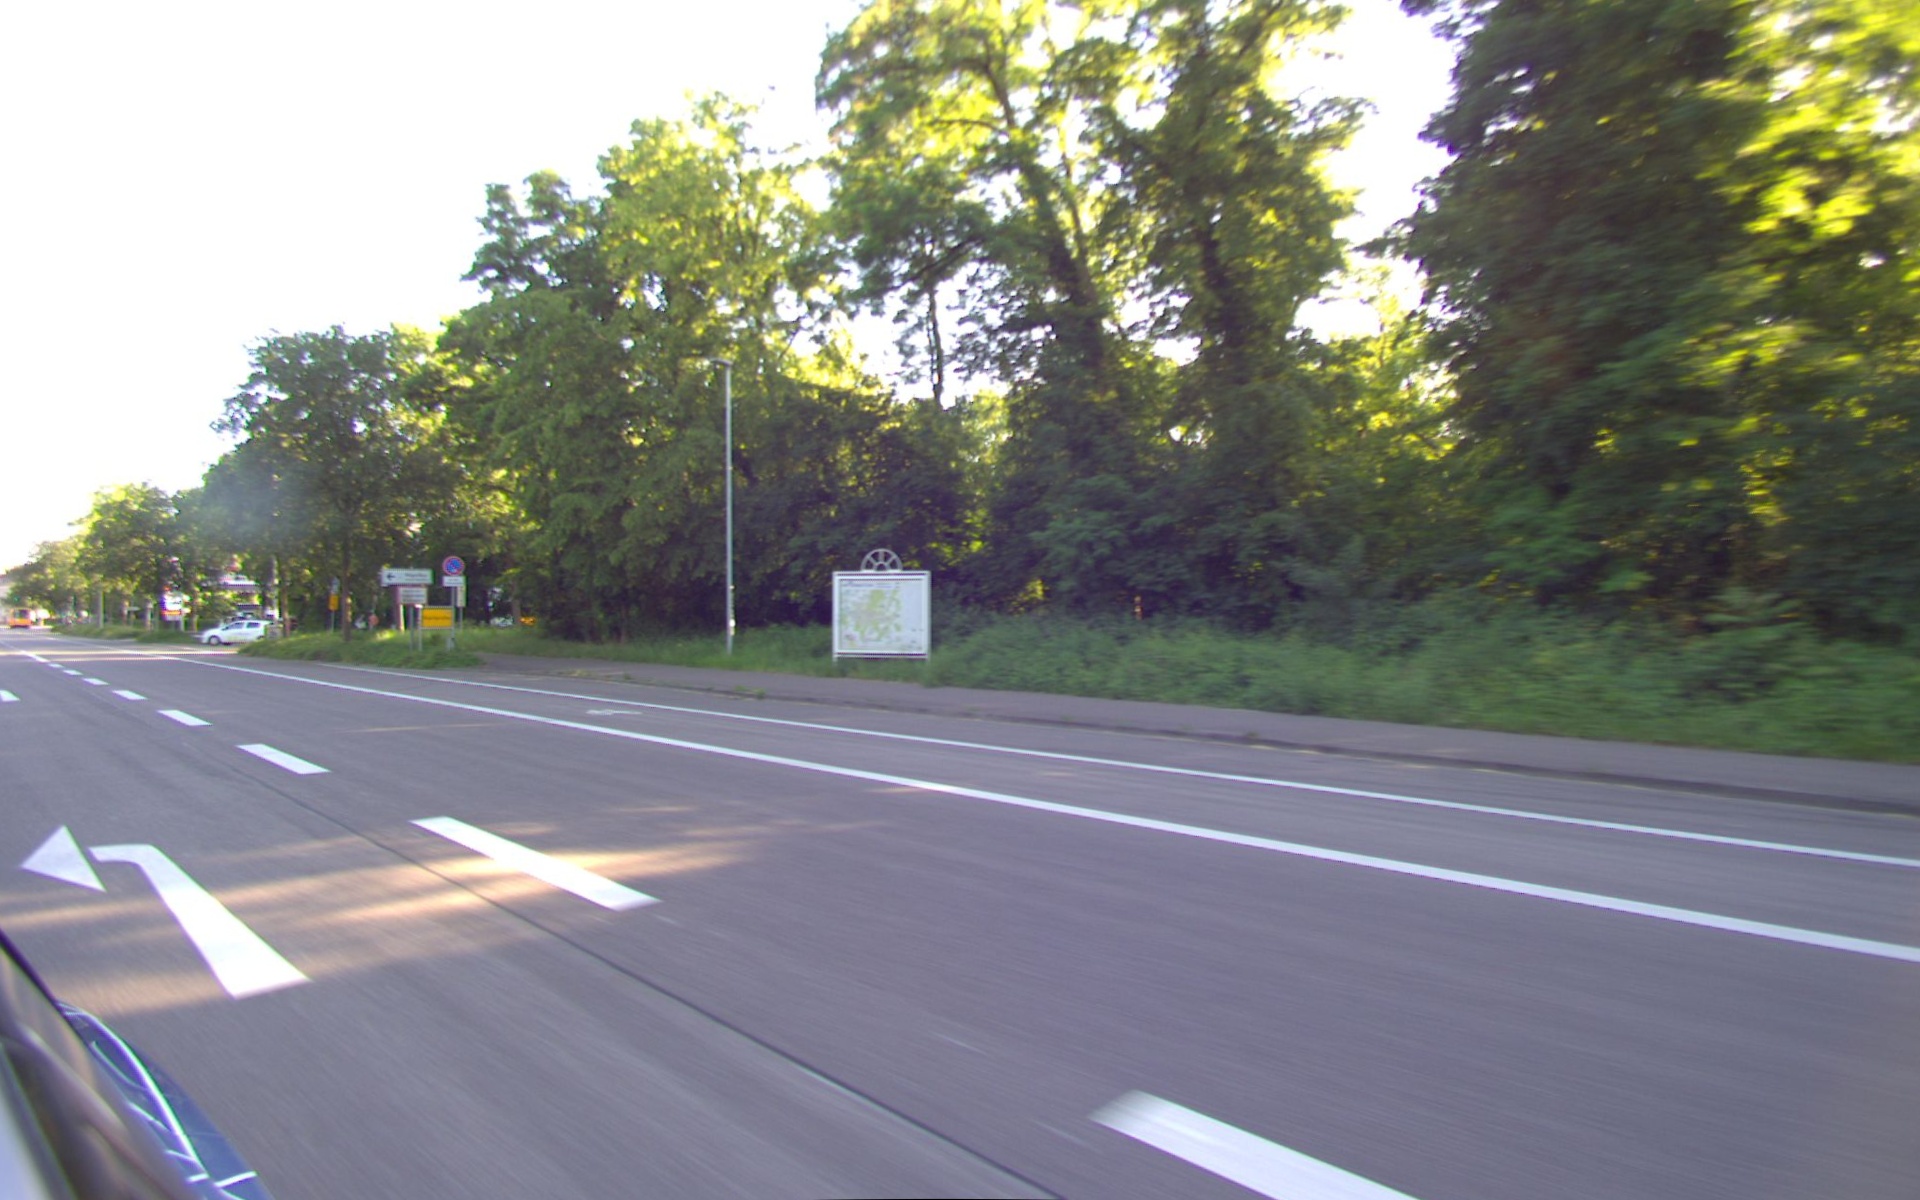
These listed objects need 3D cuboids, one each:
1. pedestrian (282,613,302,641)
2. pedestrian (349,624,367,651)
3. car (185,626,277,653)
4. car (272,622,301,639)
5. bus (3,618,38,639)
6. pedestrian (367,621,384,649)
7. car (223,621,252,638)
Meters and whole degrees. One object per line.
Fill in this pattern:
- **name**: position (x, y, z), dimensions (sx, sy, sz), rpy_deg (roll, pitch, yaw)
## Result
- **pedestrian**: position (-44.218, 1.810, 66.964), dimensions (0.825, 1.833, 0.735), rpy_deg (0, -1, 7)
- **pedestrian**: position (-40.161, 2.490, 67.535), dimensions (0.820, 1.833, 0.738), rpy_deg (0, -1, -16)
- **car**: position (-41.841, 2.253, 58.168), dimensions (3.878, 1.537, 1.835), rpy_deg (0, -1, -13)
- **car**: position (-65.548, 2.979, 98.485), dimensions (1.734, 1.653, 3.840), rpy_deg (1, -2, -44)
- **bus**: position (-157.755, 4.835, 169.928), dimensions (9.472, 3.434, 3.000), rpy_deg (-1, -2, 39)
- **pedestrian**: position (-39.099, 2.337, 67.645), dimensions (0.820, 1.833, 0.738), rpy_deg (0, -1, -16)
- **car**: position (-70.175, 2.829, 98.294), dimensions (1.734, 1.653, 3.615), rpy_deg (1, -2, -44)
